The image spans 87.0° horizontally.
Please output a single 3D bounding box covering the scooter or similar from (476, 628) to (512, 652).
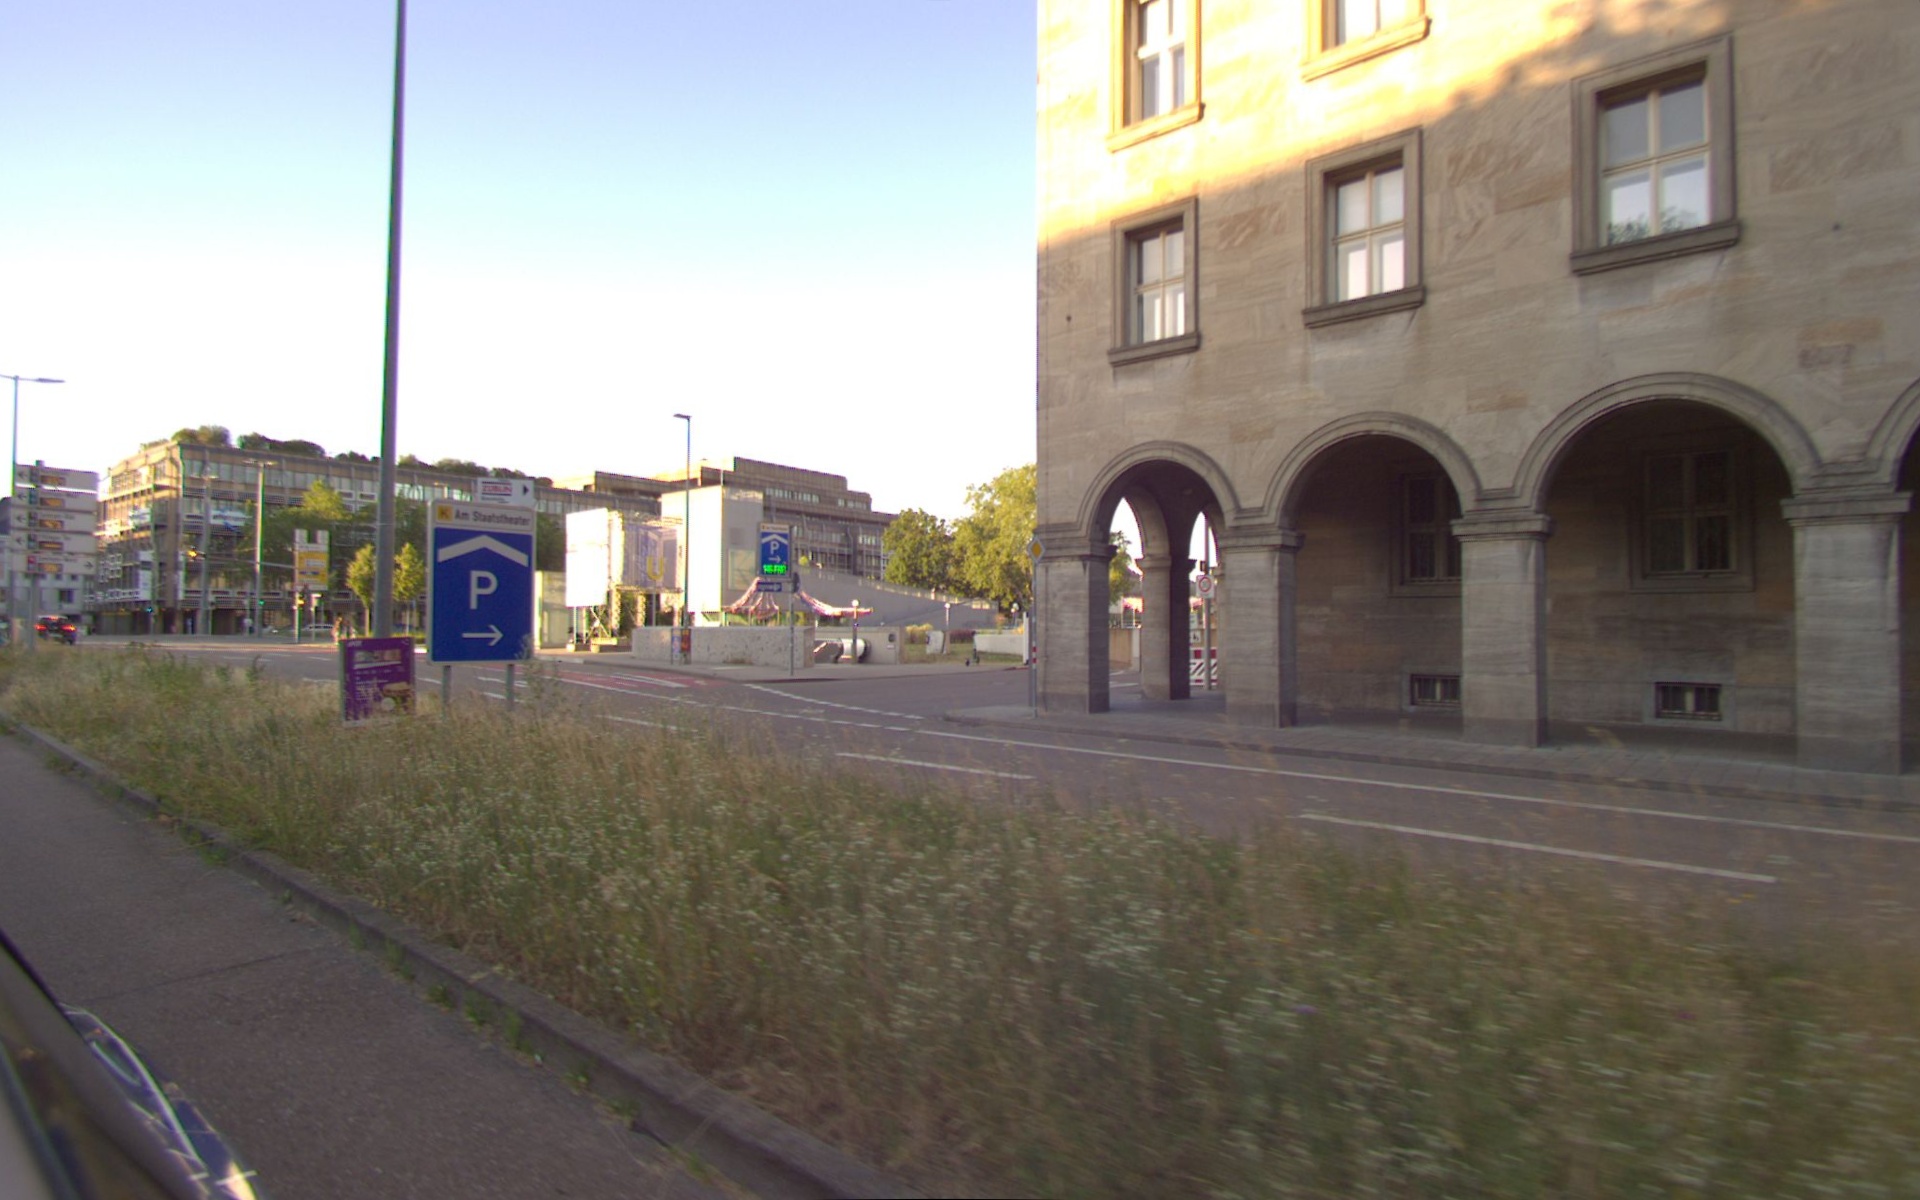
[{"bbox_3d":[-25.807,2.204,56.077,0.422,1.315,1.814,0,-2,35],"label":"scooter or similar"}]

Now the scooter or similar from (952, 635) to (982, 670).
[{"bbox_3d":[0.268,1.888,36.471,0.543,1.233,1.555,0,-2,22],"label":"scooter or similar"}]

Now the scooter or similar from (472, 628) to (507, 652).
[{"bbox_3d":[-26.190,2.213,56.372,0.416,1.315,1.772,0,-2,35],"label":"scooter or similar"}]

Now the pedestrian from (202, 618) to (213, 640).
[{"bbox_3d":[-67.060,2.598,90.180,0.680,1.946,0.636,-1,-2,38],"label":"pedestrian"}]

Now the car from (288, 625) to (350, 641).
[{"bbox_3d":[-66.645,3.410,105.231,1.999,1.597,5.094,-2,-3,40],"label":"car"}]

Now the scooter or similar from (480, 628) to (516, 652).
[{"bbox_3d":[-25.452,2.195,55.813,0.422,1.315,1.819,0,-2,35],"label":"scooter or similar"}]

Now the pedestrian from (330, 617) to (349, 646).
[{"bbox_3d":[-40.025,2.062,65.278,0.775,1.851,0.862,-2,-3,42],"label":"pedestrian"}]

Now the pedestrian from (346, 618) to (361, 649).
[{"bbox_3d":[-39.575,2.187,66.026,0.647,1.948,0.652,-2,-3,43],"label":"pedestrian"}]

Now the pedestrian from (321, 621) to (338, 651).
[{"bbox_3d":[-40.985,2.317,65.801,0.774,1.948,0.625,-1,-3,37],"label":"pedestrian"}]

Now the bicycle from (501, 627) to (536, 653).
[{"bbox_3d":[-23.839,2.147,54.622,2.507,1.334,0.611,-1,-2,40],"label":"bicycle"}]

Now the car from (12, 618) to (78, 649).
[{"bbox_3d":[-46.100,1.683,50.960,4.534,1.477,1.867,-1,-2,40],"label":"car"}]

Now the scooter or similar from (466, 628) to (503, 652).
[{"bbox_3d":[-26.615,2.209,56.651,0.499,1.315,1.842,0,-2,35],"label":"scooter or similar"}]
